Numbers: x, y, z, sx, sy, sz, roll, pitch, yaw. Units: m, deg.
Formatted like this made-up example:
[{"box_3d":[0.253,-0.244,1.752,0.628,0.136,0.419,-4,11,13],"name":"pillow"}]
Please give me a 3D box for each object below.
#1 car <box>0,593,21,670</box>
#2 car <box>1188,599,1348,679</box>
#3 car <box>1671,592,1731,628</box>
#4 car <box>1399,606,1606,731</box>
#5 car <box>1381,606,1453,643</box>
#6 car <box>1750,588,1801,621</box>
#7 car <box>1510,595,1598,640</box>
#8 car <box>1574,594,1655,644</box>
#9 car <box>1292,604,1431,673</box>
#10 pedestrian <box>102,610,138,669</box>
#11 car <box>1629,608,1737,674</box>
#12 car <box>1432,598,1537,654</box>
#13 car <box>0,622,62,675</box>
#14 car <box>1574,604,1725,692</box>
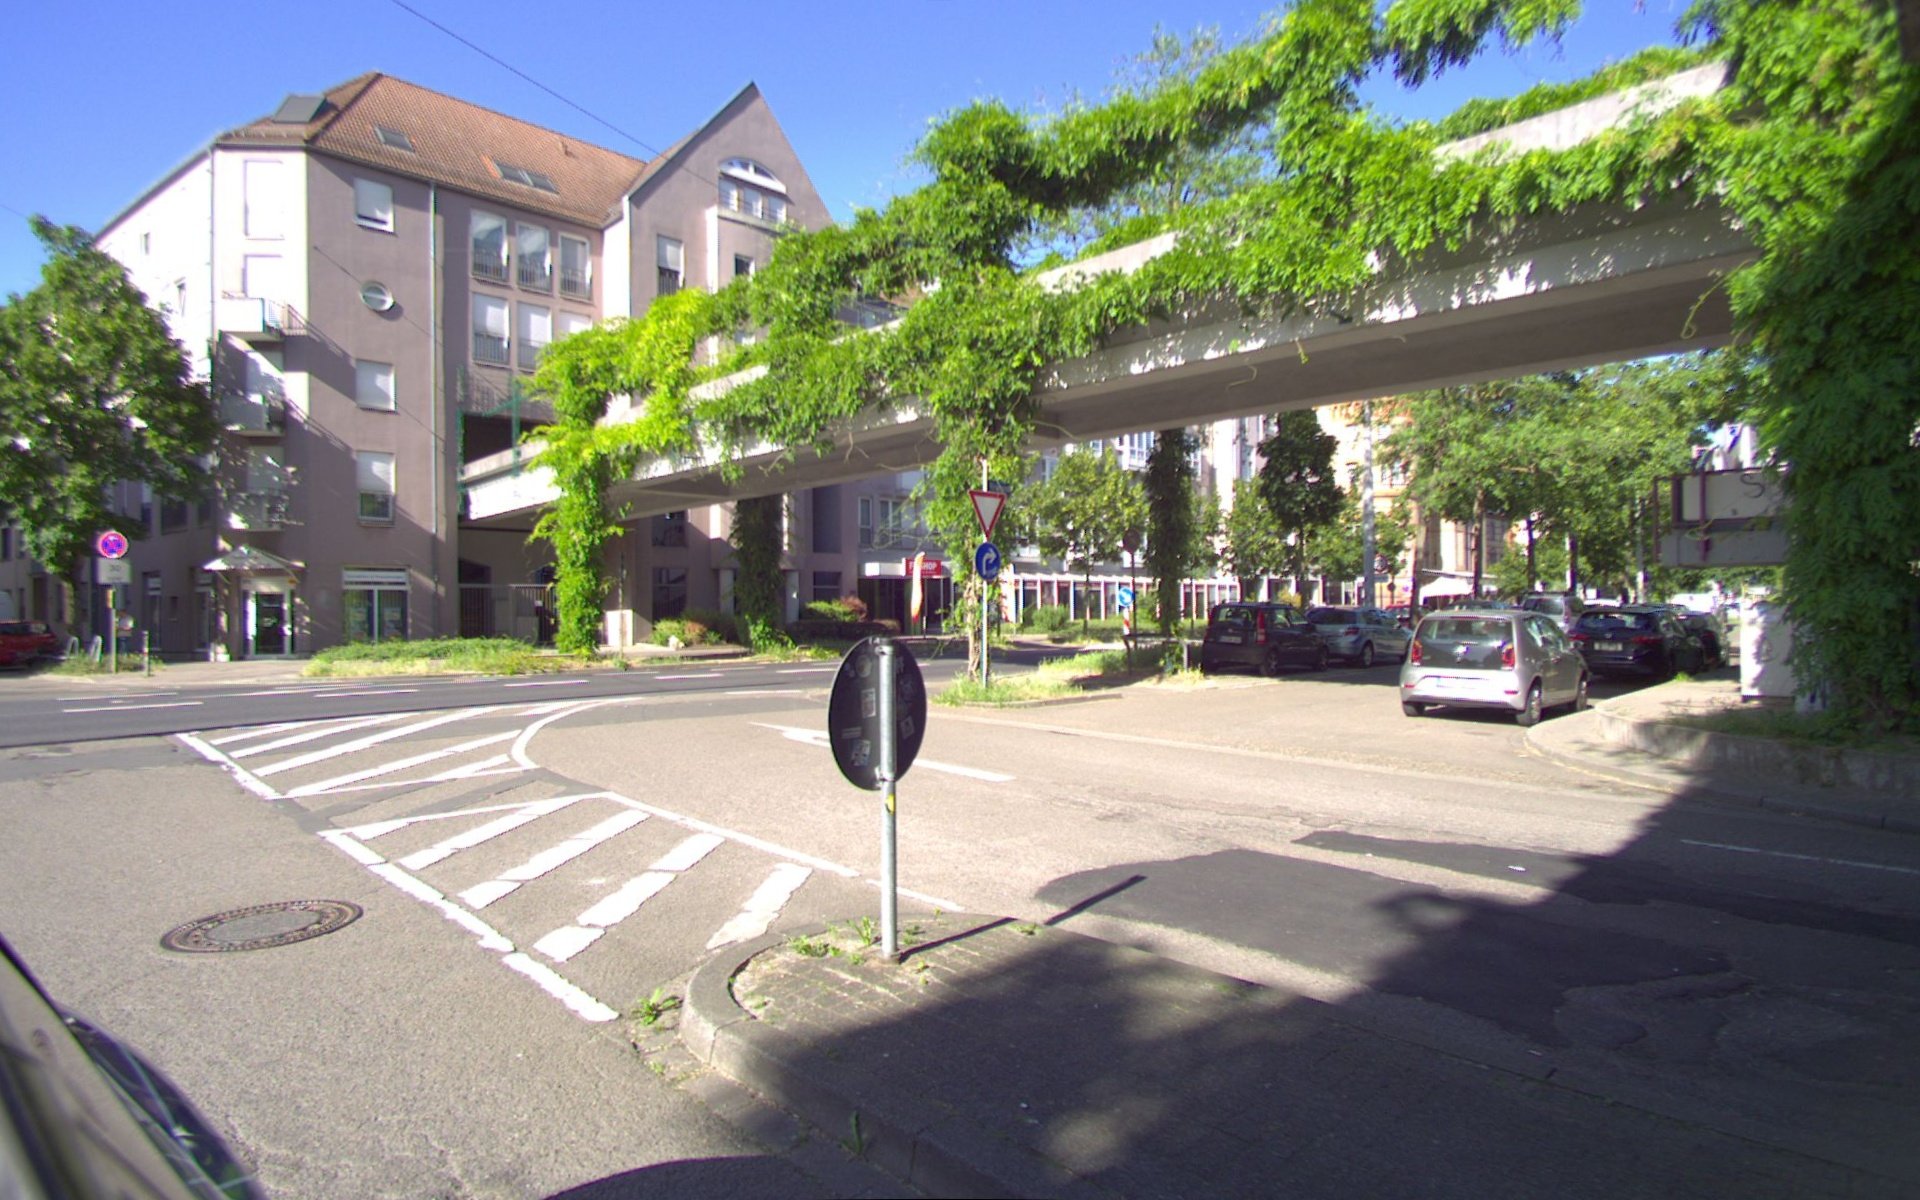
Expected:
[{"box_3d":[-33.291,1.042,33.511,5.082,2.470,2.195,-1,-1,34],"name":"car"},{"box_3d":[6.742,0.777,21.979,3.723,1.550,1.747,0,1,-45],"name":"car"},{"box_3d":[40.786,0.549,55.696,2.072,1.923,4.460,-2,-1,44],"name":"car"},{"box_3d":[7.625,0.844,14.094,1.612,1.497,3.595,-1,-1,44],"name":"car"},{"box_3d":[18.982,0.991,41.980,1.657,1.439,3.456,-1,-1,45],"name":"car"},{"box_3d":[51.945,0.262,64.420,4.231,2.029,2.002,0,-1,-44],"name":"car"},{"box_3d":[21.750,0.611,36.989,1.736,1.561,4.384,-2,-1,45],"name":"car"},{"box_3d":[26.322,0.738,40.632,2.000,1.897,4.177,-1,-1,43],"name":"car"},{"box_3d":[9.891,0.877,24.770,1.658,1.459,4.221,3,2,44],"name":"car"},{"box_3d":[-23.180,1.075,27.928,0.623,1.588,0.533,0,-1,-20],"name":"pedestrian"},{"box_3d":[17.277,0.915,24.129,1.686,1.414,3.748,-1,-1,42],"name":"car"},{"box_3d":[16.483,0.774,31.721,4.022,1.659,1.780,0,-1,-45],"name":"car"},{"box_3d":[-28.333,1.401,30.085,3.993,1.473,1.672,-1,-1,37],"name":"car"},{"box_3d":[13.578,0.850,19.842,1.739,1.541,3.941,-1,-1,45],"name":"car"}]
